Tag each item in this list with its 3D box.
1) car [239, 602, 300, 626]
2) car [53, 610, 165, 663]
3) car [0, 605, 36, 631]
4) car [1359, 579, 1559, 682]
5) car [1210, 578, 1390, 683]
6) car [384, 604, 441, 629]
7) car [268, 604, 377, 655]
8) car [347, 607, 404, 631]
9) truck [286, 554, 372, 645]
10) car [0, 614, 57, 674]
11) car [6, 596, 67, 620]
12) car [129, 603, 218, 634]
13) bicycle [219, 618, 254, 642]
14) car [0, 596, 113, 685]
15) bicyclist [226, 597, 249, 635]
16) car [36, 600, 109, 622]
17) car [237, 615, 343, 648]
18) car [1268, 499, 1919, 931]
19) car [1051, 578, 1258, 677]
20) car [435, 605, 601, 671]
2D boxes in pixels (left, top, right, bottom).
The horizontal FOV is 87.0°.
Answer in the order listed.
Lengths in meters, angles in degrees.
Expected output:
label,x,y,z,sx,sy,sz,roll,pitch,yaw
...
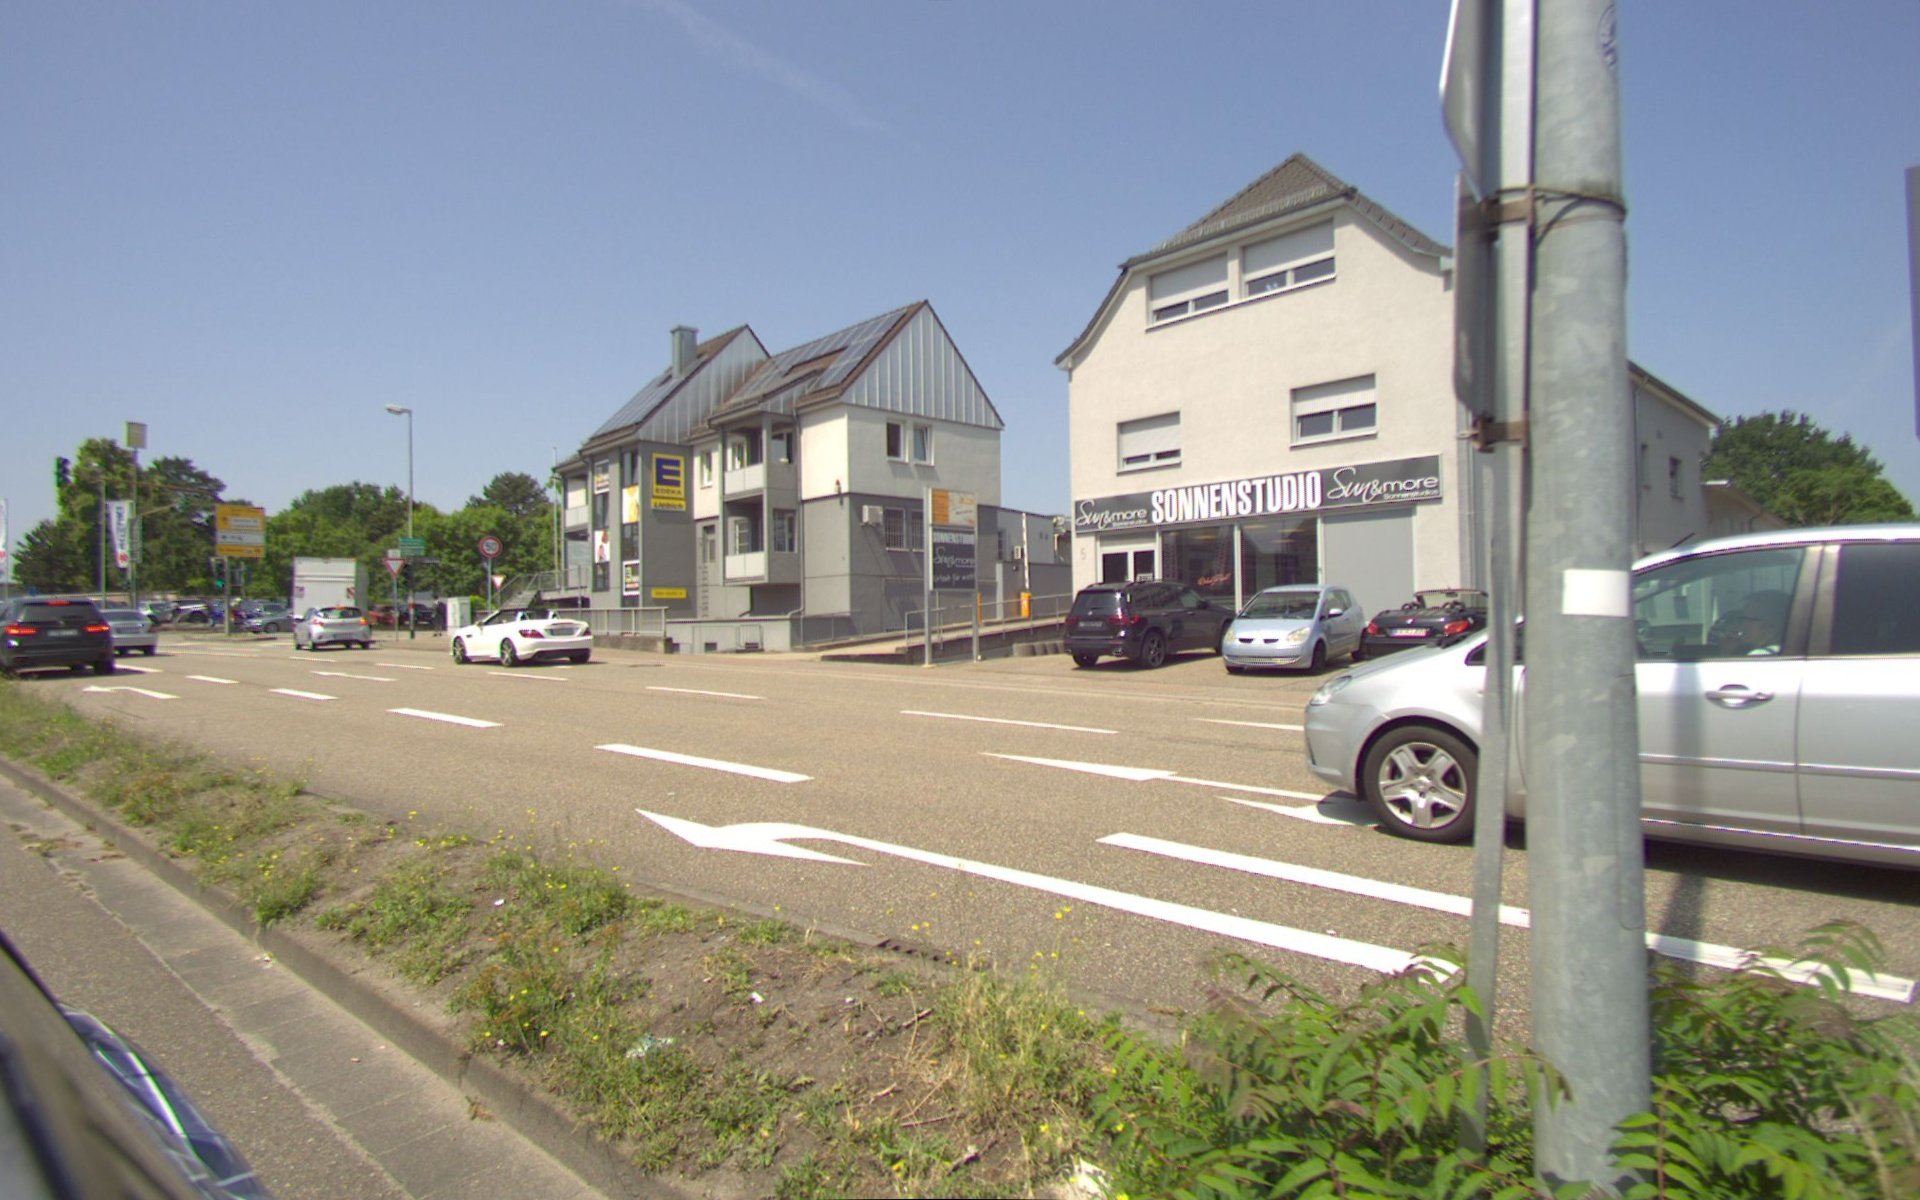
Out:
label,x,y,z,sx,sy,sz,roll,pitch,yaw
car,-46.533,0.903,68.195,3.982,1.548,1.779,0,1,29
car,-25.875,1.063,30.720,4.194,1.371,1.878,1,2,40
car,-61.322,1.141,64.835,1.885,1.552,3.976,-1,1,-23
car,8.555,0.488,17.193,2.000,1.532,4.012,-1,-1,43
car,6.434,0.475,18.793,1.750,1.507,4.563,-2,2,37
car,-41.647,1.241,76.997,3.982,1.763,1.981,0,1,29
car,-21.303,0.933,33.741,4.194,1.578,1.878,0,0,40
car,-43.385,1.423,75.072,3.982,1.696,1.851,0,1,29
truck,-26.012,-0.038,41.988,2.233,3.443,7.062,-2,1,-26
car,-25.332,1.108,26.321,4.736,1.442,1.846,-1,0,37
car,-58.864,0.502,64.561,1.686,1.443,3.976,1,0,-24
car,-50.626,1.170,65.240,4.235,1.916,1.836,1,0,-26
bicycle,-32.160,1.333,44.991,1.778,1.062,0.418,-1,0,24
car,-20.620,0.809,22.583,4.757,1.764,1.889,0,1,41
bicyclist,-32.192,0.714,45.095,0.815,1.655,0.419,-2,0,24
car,-70.132,0.881,79.994,4.701,1.662,1.690,-1,0,8
car,-37.861,1.761,57.301,1.756,1.622,4.712,0,1,31
car,3.905,0.412,4.770,4.339,1.641,1.761,-1,1,42
car,4.072,0.484,20.677,4.554,1.639,1.855,-4,2,-45
car,-10.109,0.819,22.989,4.353,1.364,1.786,-1,-1,41
